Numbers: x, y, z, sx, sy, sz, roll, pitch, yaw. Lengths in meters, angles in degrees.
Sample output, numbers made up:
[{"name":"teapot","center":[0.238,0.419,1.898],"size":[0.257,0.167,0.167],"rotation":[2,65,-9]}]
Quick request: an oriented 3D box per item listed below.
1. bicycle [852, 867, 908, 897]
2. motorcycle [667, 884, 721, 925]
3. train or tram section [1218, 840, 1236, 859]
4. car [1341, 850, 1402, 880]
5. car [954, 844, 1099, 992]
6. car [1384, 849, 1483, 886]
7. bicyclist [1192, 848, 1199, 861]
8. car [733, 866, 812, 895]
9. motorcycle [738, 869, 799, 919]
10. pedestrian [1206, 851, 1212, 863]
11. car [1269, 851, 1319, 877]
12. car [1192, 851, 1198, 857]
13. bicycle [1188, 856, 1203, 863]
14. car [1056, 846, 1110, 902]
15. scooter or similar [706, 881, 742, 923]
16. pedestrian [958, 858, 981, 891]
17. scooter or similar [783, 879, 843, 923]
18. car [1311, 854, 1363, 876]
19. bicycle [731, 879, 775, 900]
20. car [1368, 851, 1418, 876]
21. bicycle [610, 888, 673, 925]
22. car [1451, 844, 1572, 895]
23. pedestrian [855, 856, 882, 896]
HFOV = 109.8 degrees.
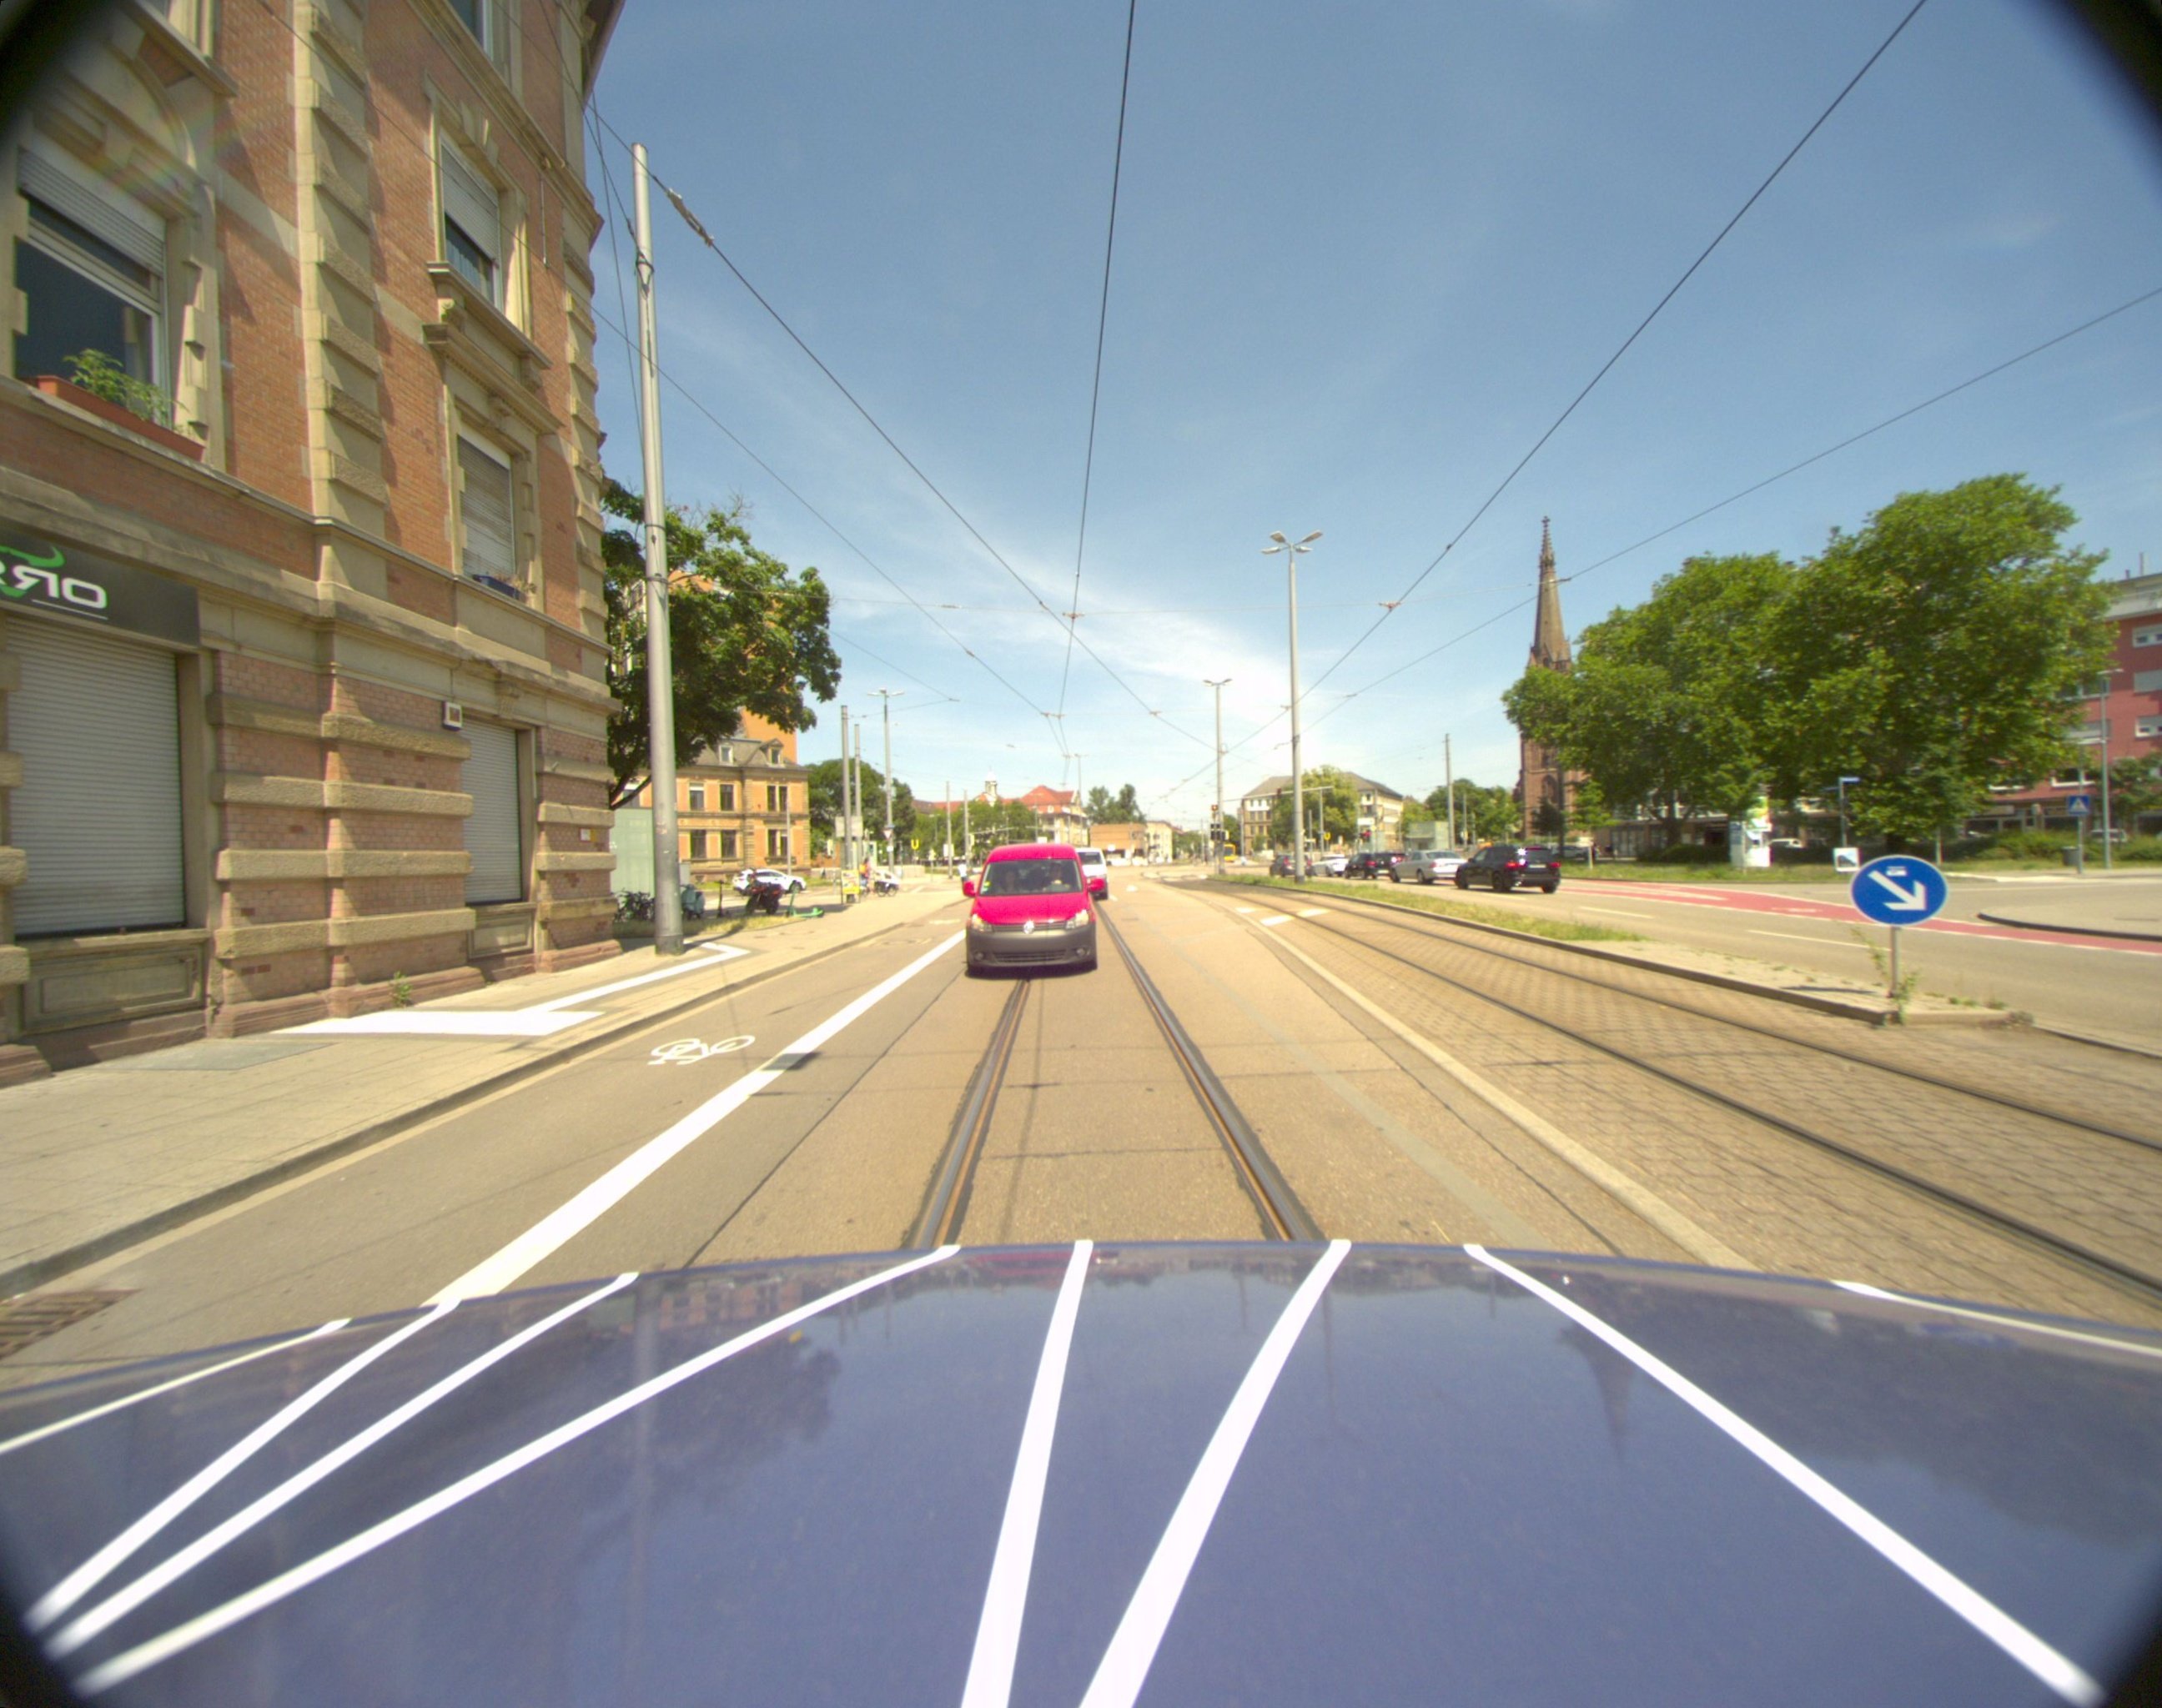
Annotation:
[{"name":"bicycle","center":[-9.265,1.283,35.096],"size":[2.225,1.243,1.096],"rotation":[-2,0,-44]},{"name":"motorcycle","center":[-11.716,1.505,23.071],"size":[0.692,1.090,1.747],"rotation":[-2,1,0]},{"name":"train or tram section","center":[25.888,-0.843,134.756],"size":[2.840,3.195,9.116],"rotation":[-2,0,9]},{"name":"car","center":[15.202,0.547,39.997],"size":[1.675,1.453,3.903],"rotation":[-1,0,-1]},{"name":"car","center":[-0.679,0.808,11.602],"size":[1.755,1.802,4.097],"rotation":[-2,0,0]},{"name":"car","center":[15.441,0.528,33.678],"size":[1.999,1.521,5.130],"rotation":[0,0,0]},{"name":"bicyclist","center":[15.777,0.052,105.111],"size":[0.813,1.678,0.528],"rotation":[-2,1,-5]},{"name":"car","center":[-19.228,1.610,47.428],"size":[4.184,1.596,1.703],"rotation":[-2,0,-39]},{"name":"motorcycle","center":[-9.622,1.196,23.546],"size":[0.765,1.354,2.595],"rotation":[-2,1,0]},{"name":"pedestrian","center":[17.662,0.462,104.733],"size":[0.657,1.661,0.449],"rotation":[-2,1,-16]},{"name":"car","center":[12.642,0.587,45.395],"size":[1.848,1.471,4.330],"rotation":[-1,0,1]},{"name":"car","center":[31.182,0.008,207.970],"size":[1.439,1.586,4.003],"rotation":[-2,0,9]},{"name":"bicycle","center":[15.799,0.732,105.045],"size":[1.906,0.973,0.528],"rotation":[-2,0,-5]},{"name":"car","center":[0.094,0.718,29.182],"size":[1.874,1.954,3.823],"rotation":[-2,0,0]},{"name":"scooter or similar","center":[-10.721,1.429,22.848],"size":[0.602,1.145,1.378],"rotation":[-2,1,-10]},{"name":"pedestrian","center":[-6.175,1.118,42.061],"size":[0.808,1.769,0.876],"rotation":[-2,1,32]},{"name":"scooter or similar","center":[-7.760,1.339,22.004],"size":[1.527,1.149,0.713],"rotation":[-2,0,-29]},{"name":"car","center":[15.541,0.633,46.404],"size":[1.711,1.291,4.202],"rotation":[0,0,-1]},{"name":"bicycle","center":[-17.688,1.891,40.995],"size":[2.023,0.999,0.724],"rotation":[-2,0,-35]},{"name":"car","center":[20.933,0.631,51.154],"size":[1.538,1.588,4.399],"rotation":[0,0,-1]},{"name":"bicycle","center":[-13.163,1.545,22.850],"size":[0.647,0.959,2.082],"rotation":[-2,0,0]},{"name":"car","center":[14.902,0.486,26.607],"size":[1.826,1.617,4.526],"rotation":[-1,0,3]},{"name":"pedestrian","center":[-9.707,0.991,34.697],"size":[0.826,1.765,0.812],"rotation":[-3,2,-44]}]
